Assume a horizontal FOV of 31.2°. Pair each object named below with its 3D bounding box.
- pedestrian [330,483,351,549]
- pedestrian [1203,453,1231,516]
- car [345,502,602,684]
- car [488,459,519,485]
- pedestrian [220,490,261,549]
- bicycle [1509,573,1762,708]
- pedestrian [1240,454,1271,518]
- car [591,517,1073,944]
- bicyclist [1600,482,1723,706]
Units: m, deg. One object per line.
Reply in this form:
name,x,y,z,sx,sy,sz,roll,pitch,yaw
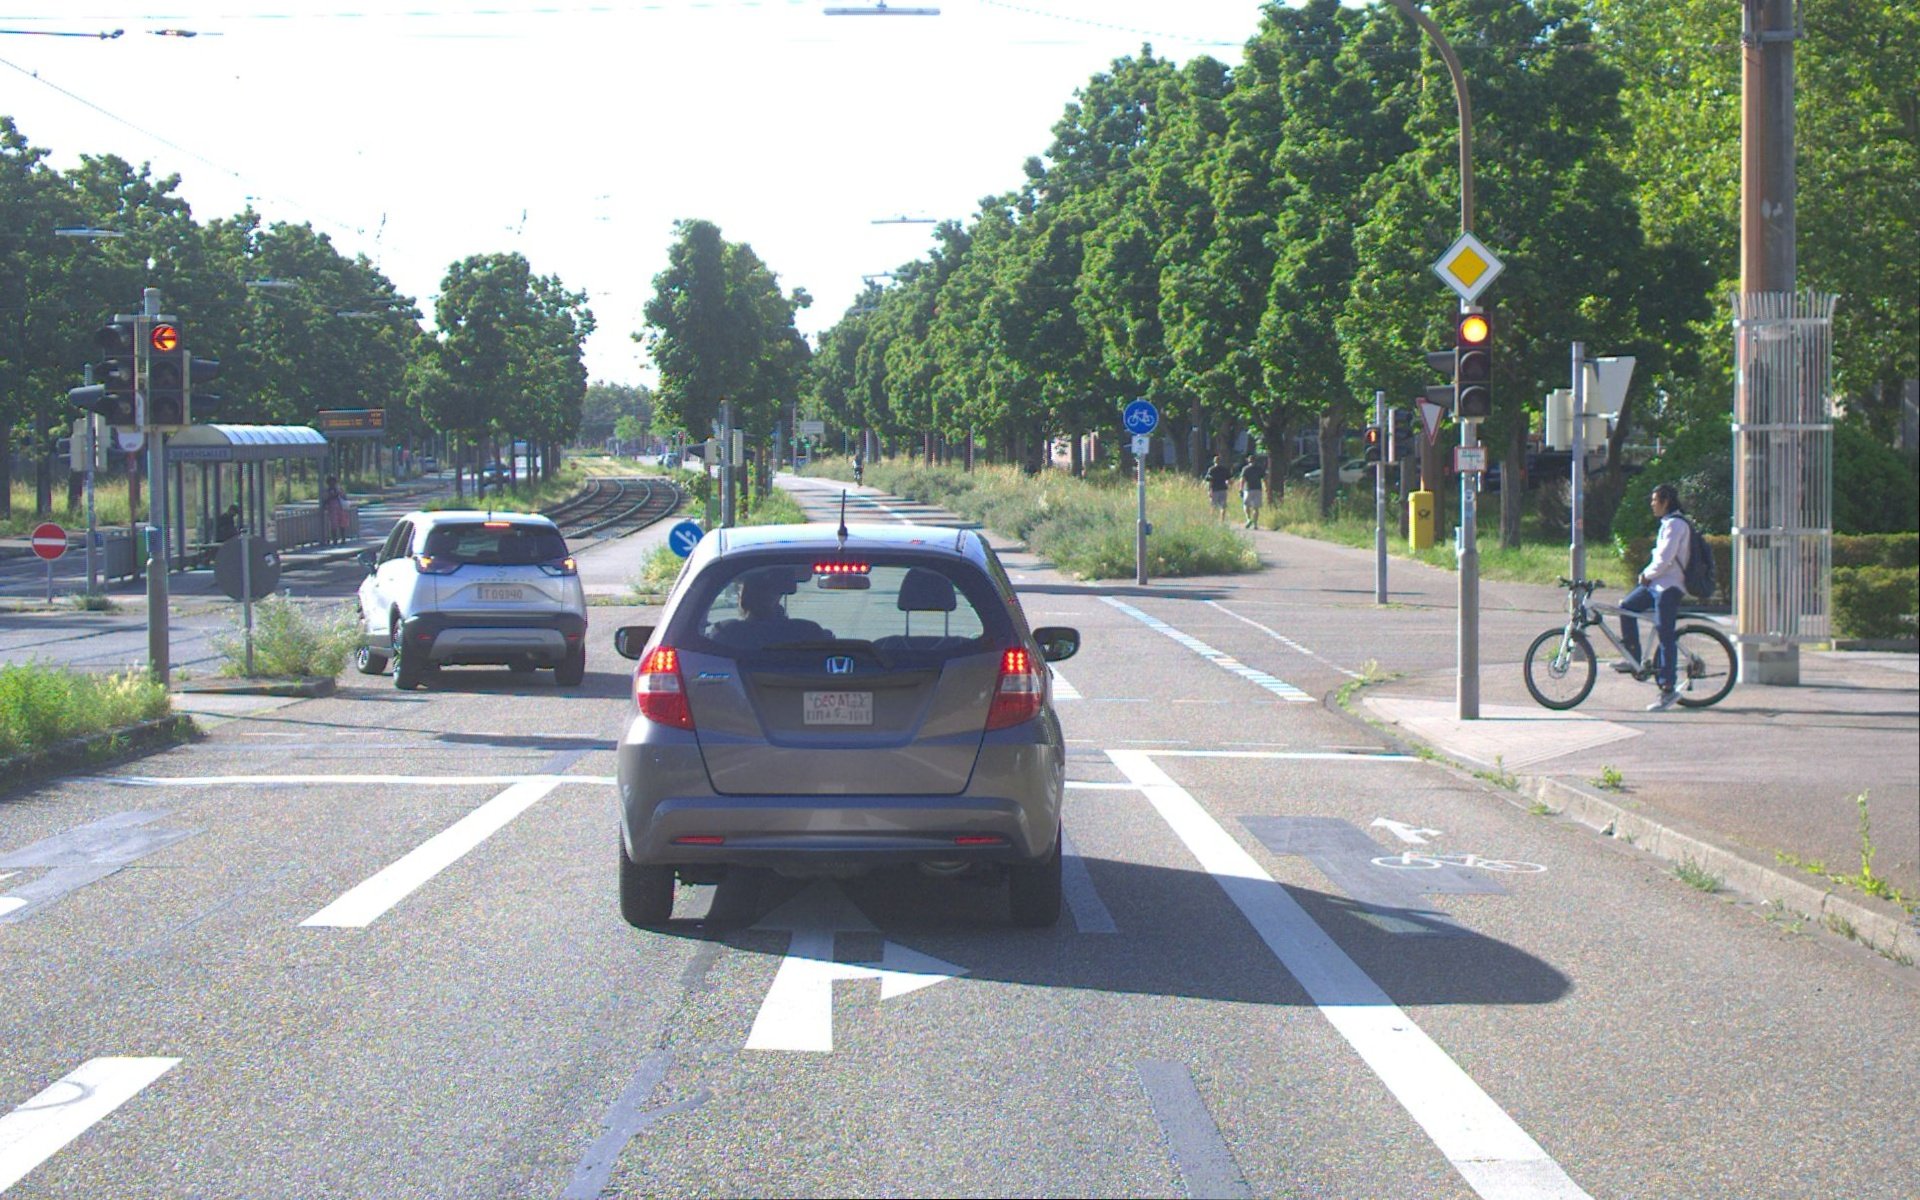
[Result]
pedestrian,-15.889,-2.158,88.178,0.502,1.670,0.388,0,1,-12
pedestrian,6.575,-2.958,87.975,0.567,1.591,0.666,1,1,-4
car,-4.665,-0.116,32.496,1.850,1.601,4.256,0,1,-16
car,-31.694,-8.873,238.743,1.766,1.732,4.001,0,1,-3
pedestrian,-15.402,-1.721,73.575,0.721,1.241,0.711,-1,2,-2
bicycle,5.355,0.320,27.308,1.921,0.994,0.764,-2,1,11
pedestrian,7.559,-2.910,88.043,0.678,1.604,0.721,1,1,-3
car,-0.451,0.420,14.284,1.707,1.503,4.000,1,1,0
bicyclist,5.555,-0.053,27.261,0.910,1.739,0.764,-1,1,11
